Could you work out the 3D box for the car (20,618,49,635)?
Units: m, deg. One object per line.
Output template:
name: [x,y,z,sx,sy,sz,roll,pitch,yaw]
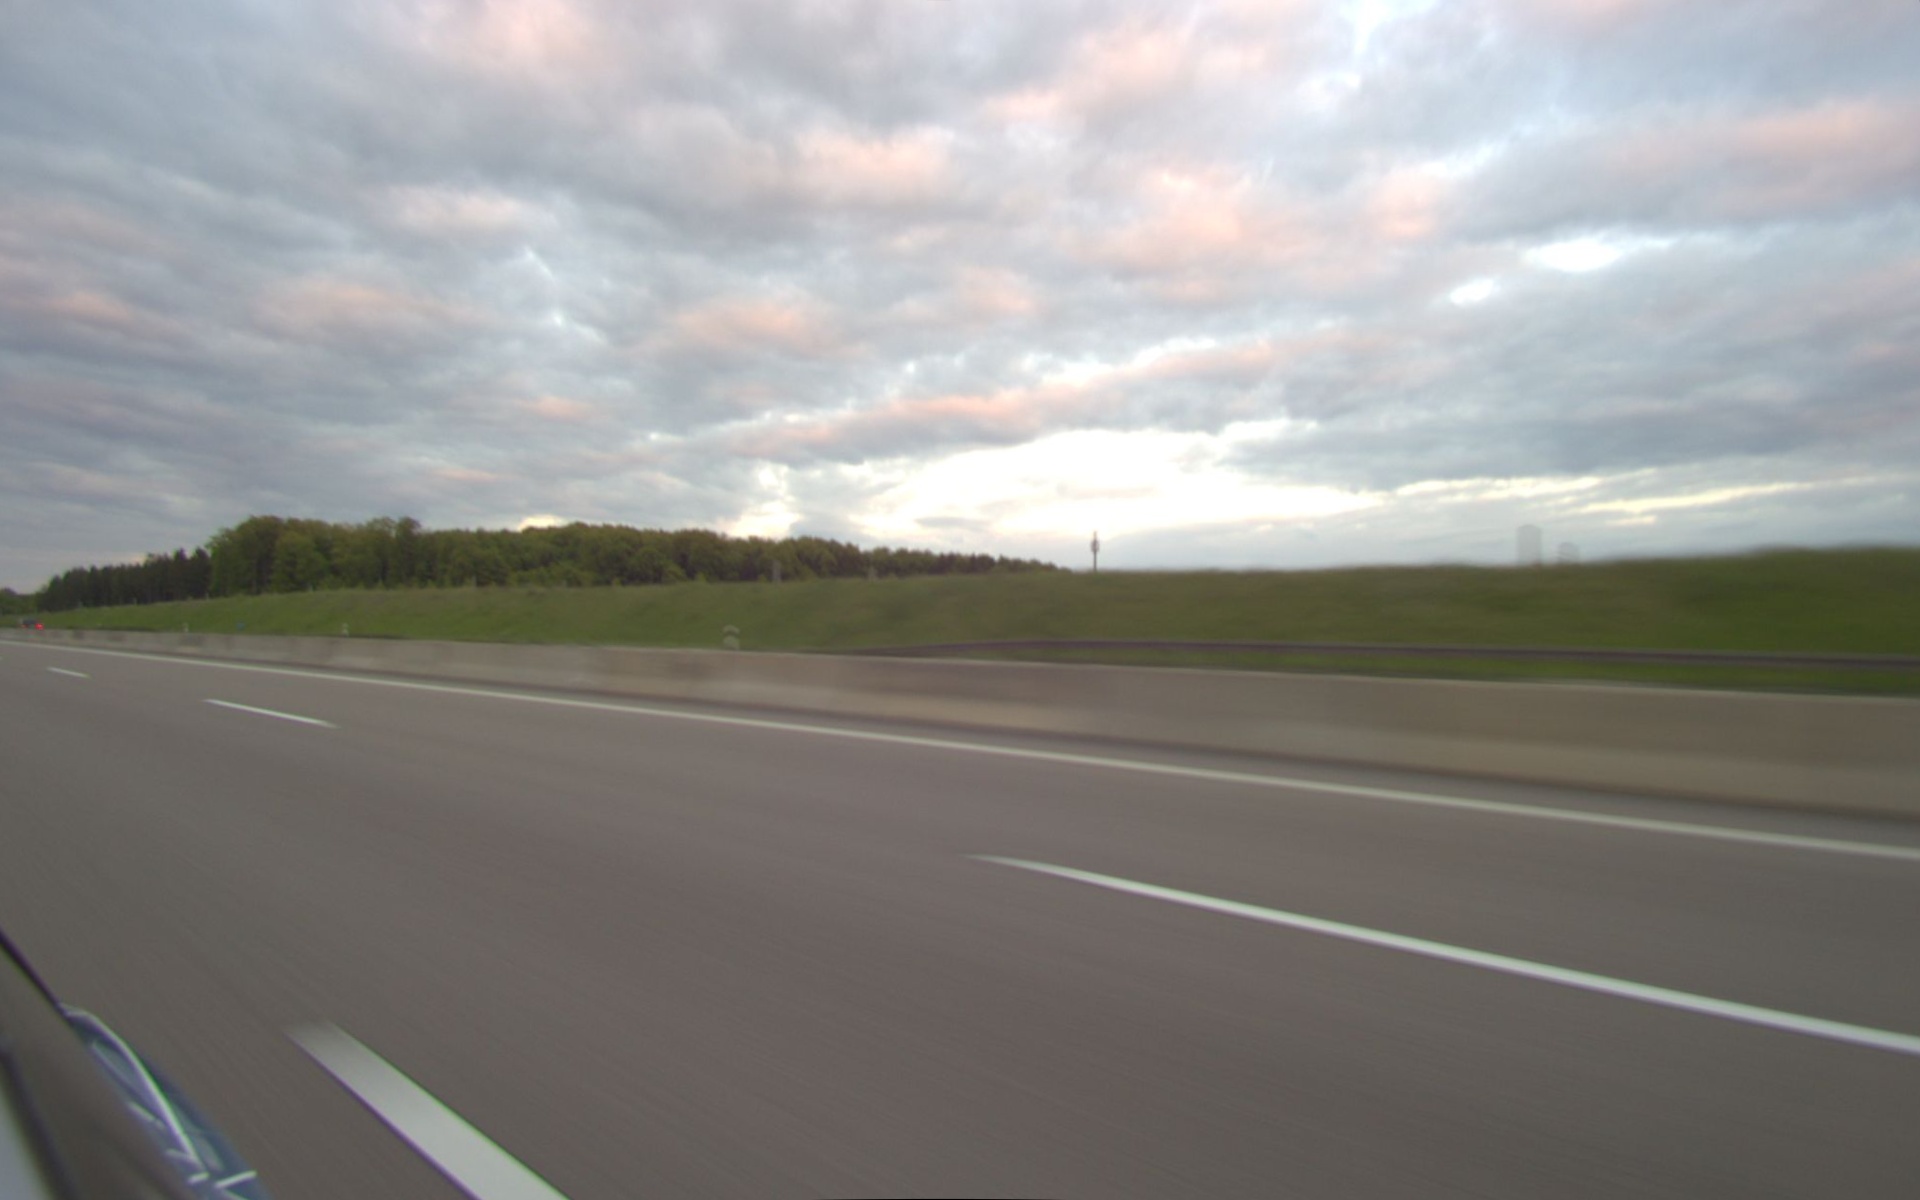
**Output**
car: [-110.225,3.114,120.550,3.995,2.029,1.974,-1,-1,39]
